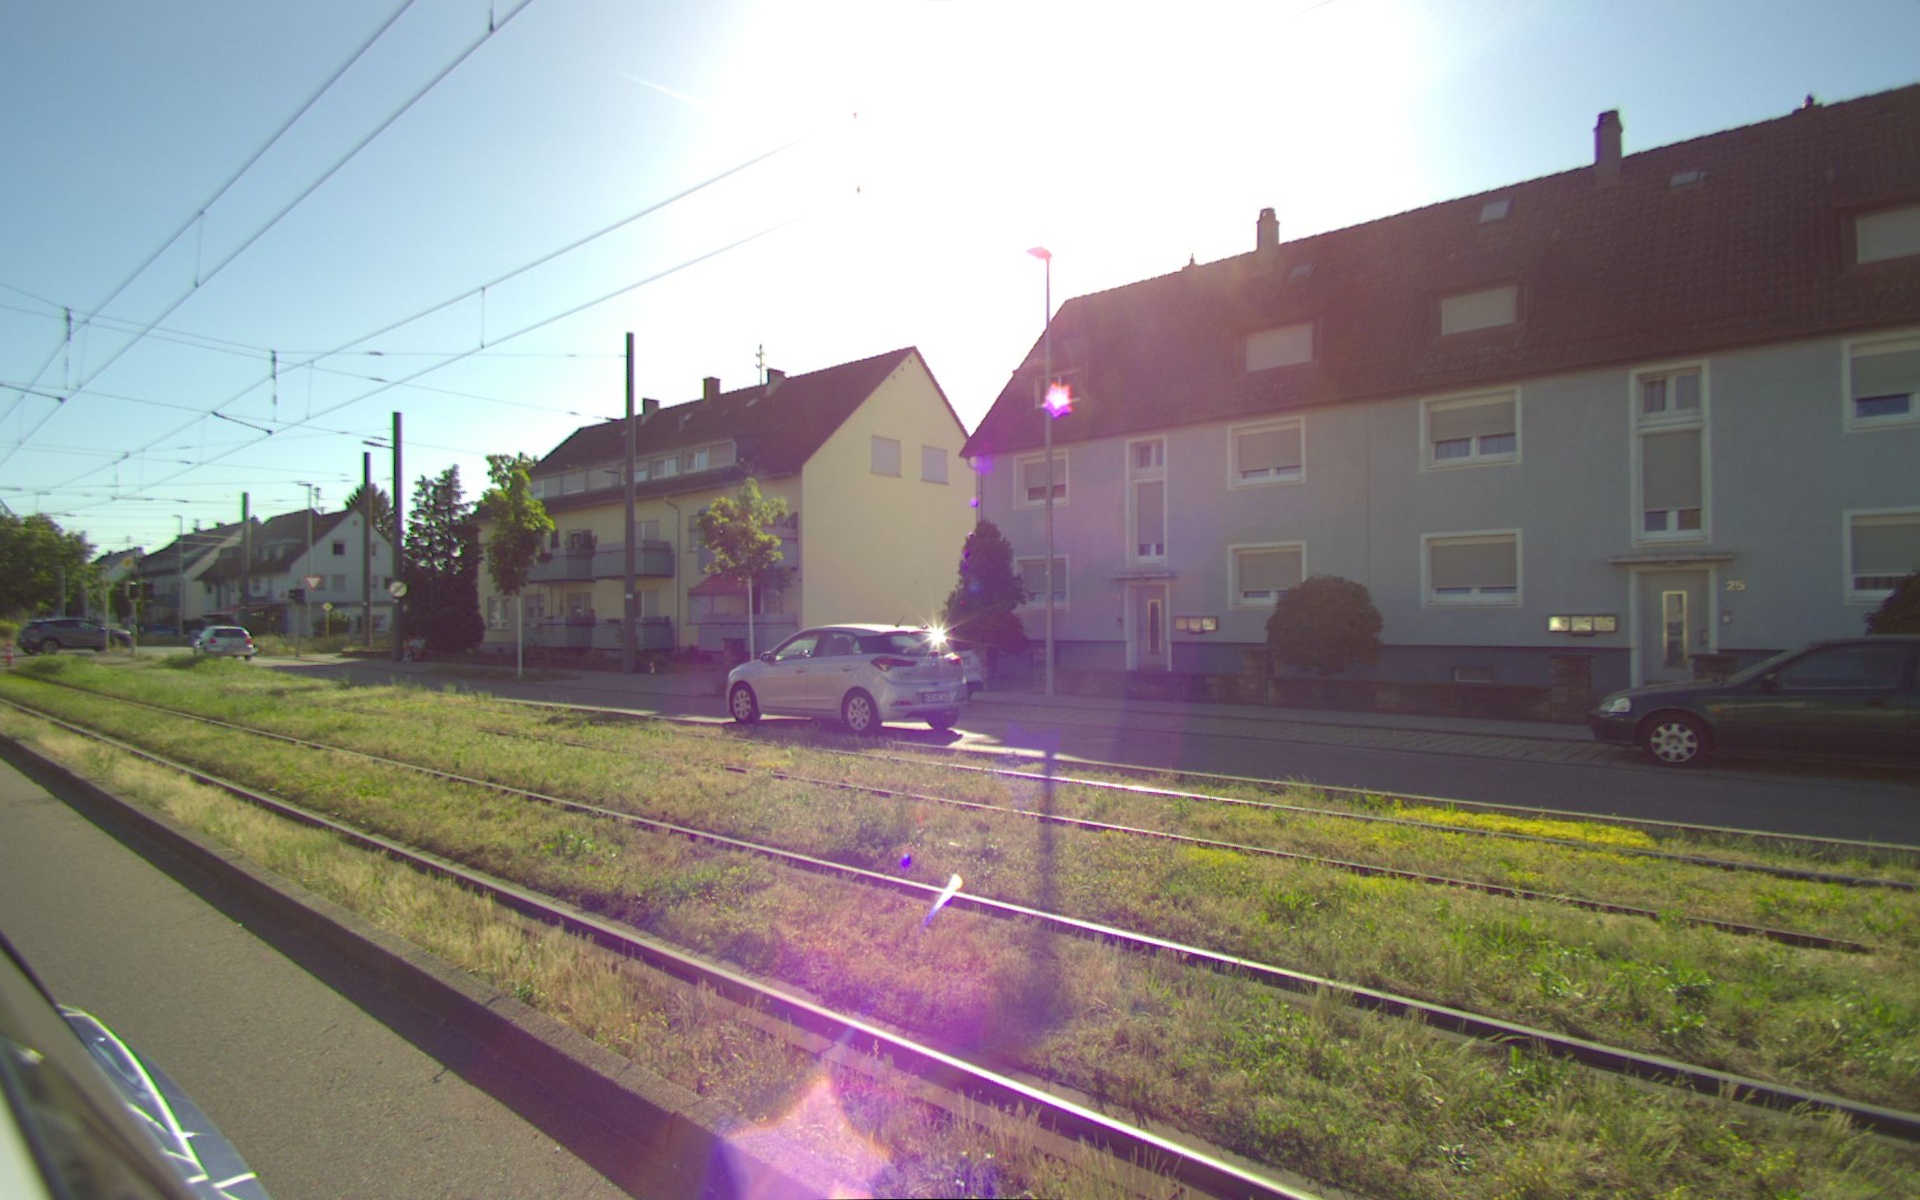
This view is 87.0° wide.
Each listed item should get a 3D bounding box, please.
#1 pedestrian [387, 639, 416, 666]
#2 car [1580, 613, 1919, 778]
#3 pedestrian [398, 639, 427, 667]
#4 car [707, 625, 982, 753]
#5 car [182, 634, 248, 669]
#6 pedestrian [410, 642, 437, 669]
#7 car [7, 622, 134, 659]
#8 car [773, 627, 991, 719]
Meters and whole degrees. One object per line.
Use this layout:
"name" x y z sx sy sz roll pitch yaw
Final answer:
"pedestrian" -22.517 2.118 40.824 0.687 1.054 0.809 -1 -1 38
"car" 8.754 0.878 10.050 4.166 1.474 1.771 -2 -2 43
"pedestrian" -21.817 2.110 40.327 0.619 1.073 0.818 1 -1 8
"car" -1.748 1.147 14.493 4.024 1.502 1.689 0 -1 43
"car" -31.286 2.134 42.489 3.658 1.422 1.533 -2 -2 42
"pedestrian" -21.193 2.170 39.964 0.590 1.013 0.720 1 -1 17
"car" -40.184 1.819 45.820 1.823 1.591 3.960 -1 -2 29
"car" -1.545 1.276 18.953 4.213 1.529 1.674 -2 -2 43
